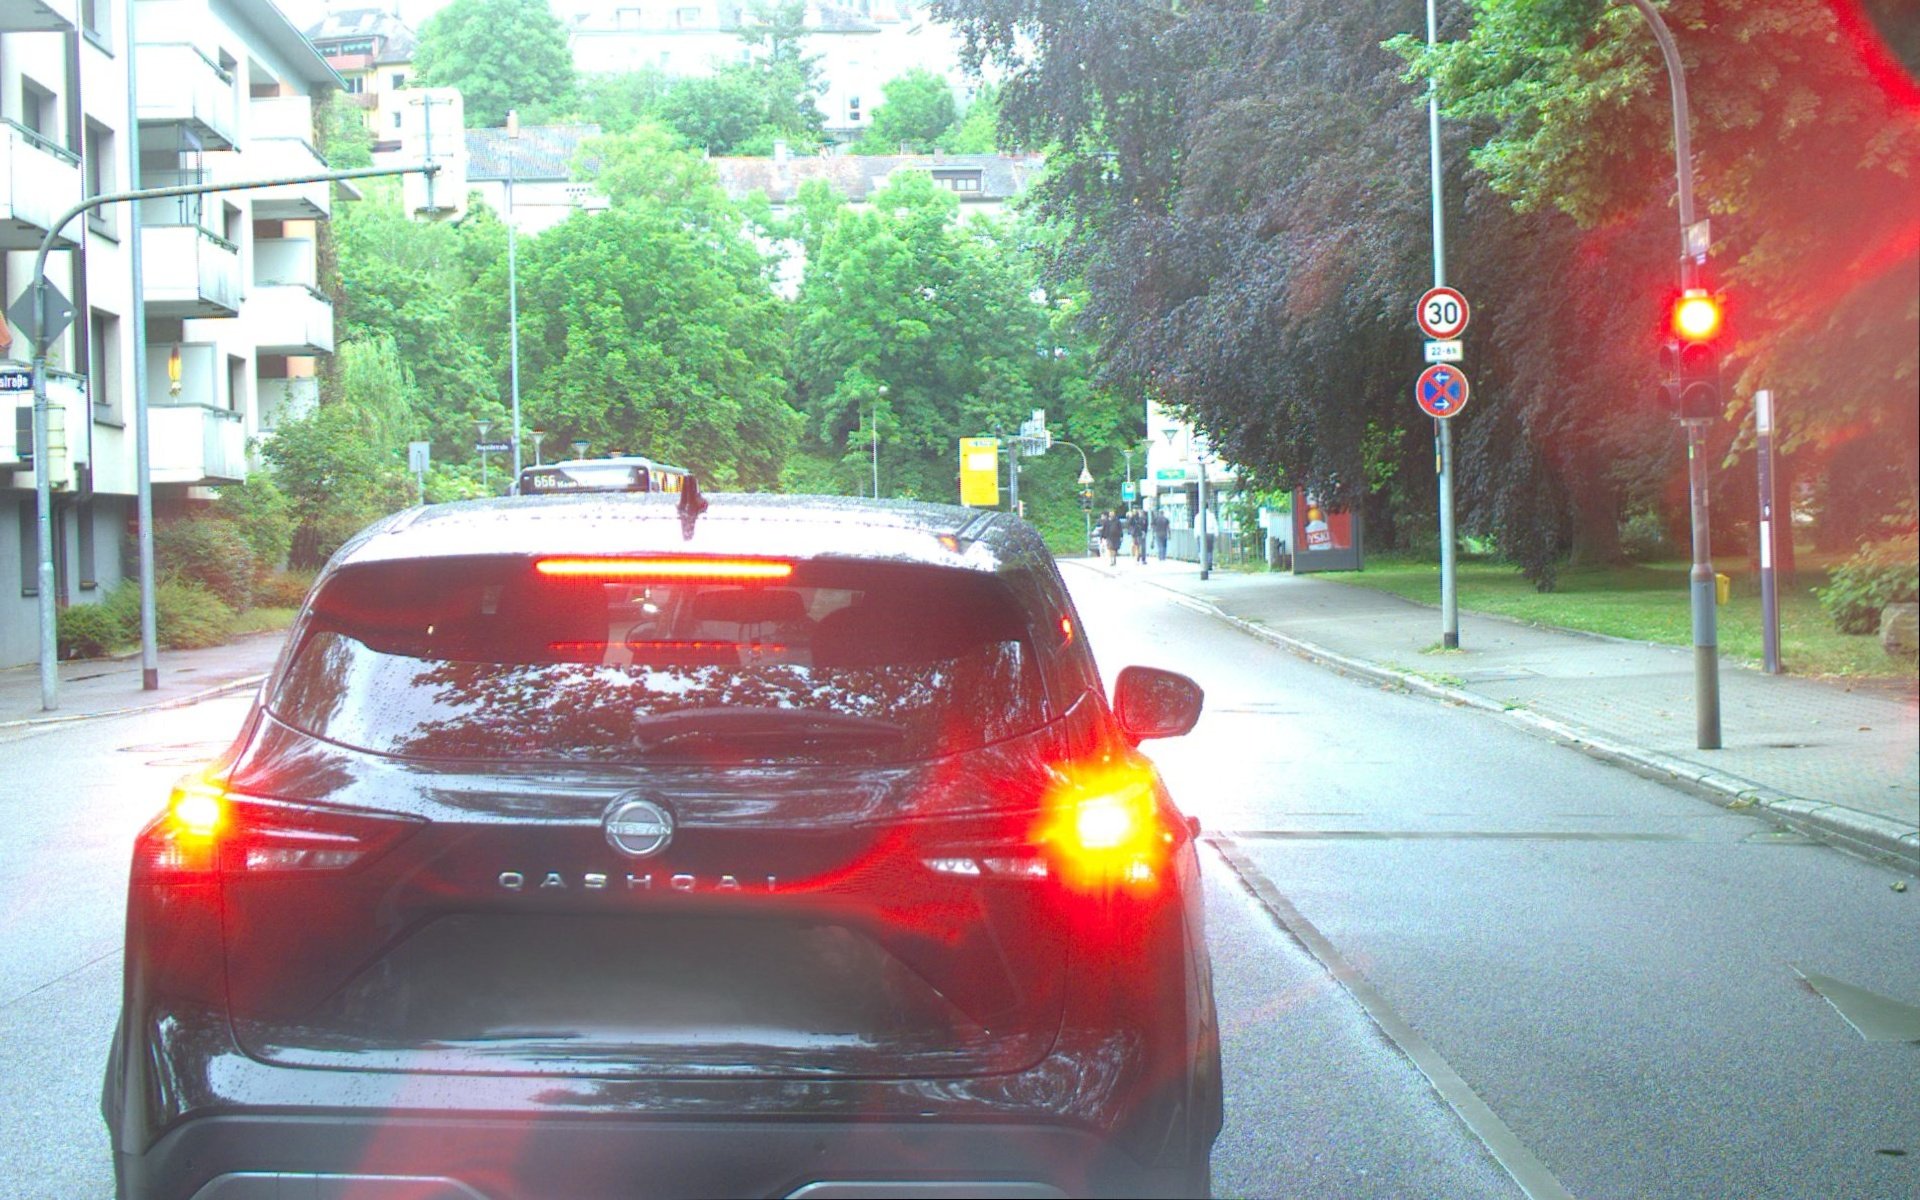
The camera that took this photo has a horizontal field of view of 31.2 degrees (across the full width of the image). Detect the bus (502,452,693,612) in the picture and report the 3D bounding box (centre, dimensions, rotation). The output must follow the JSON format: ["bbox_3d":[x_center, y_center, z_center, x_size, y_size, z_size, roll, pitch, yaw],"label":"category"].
[{"bbox_3d":[-7.336,-1.387,71.134,2.766,2.964,11.782,-2,1,-1],"label":"bus"}]

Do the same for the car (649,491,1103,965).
[{"bbox_3d":[-0.278,0.439,14.663,1.622,1.703,3.771,-2,1,1],"label":"car"}]

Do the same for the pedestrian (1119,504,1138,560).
[{"bbox_3d":[5.023,-2.018,102.529,0.514,1.650,0.550,1,0,-1],"label":"pedestrian"}]

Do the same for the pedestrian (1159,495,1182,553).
[{"bbox_3d":[6.612,-2.380,107.859,0.618,1.773,0.551,-2,1,-1],"label":"pedestrian"}]

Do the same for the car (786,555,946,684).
[{"bbox_3d":[-1.126,0.192,41.093,1.808,1.412,4.031,0,1,-2],"label":"car"}]

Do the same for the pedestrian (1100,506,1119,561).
[{"bbox_3d":[4.510,-2.011,103.782,0.544,1.645,0.490,1,0,0],"label":"pedestrian"}]

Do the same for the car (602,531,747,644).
[{"bbox_3d":[-3.815,-0.193,46.368,1.624,1.410,3.455,-2,1,0],"label":"car"}]

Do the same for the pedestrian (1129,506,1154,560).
[{"bbox_3d":[5.487,-2.028,104.072,0.699,1.645,0.628,1,0,0],"label":"pedestrian"}]

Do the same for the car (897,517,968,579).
[{"bbox_3d":[-0.651,-1.264,83.156,1.624,1.410,3.455,-2,1,0],"label":"car"}]

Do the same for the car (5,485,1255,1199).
[{"bbox_3d":[-0.506,0.617,7.009,1.806,1.584,4.000,1,1,-1],"label":"car"}]

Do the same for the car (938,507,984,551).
[{"bbox_3d":[0.041,-2.822,136.332,1.750,1.628,3.635,-2,1,0],"label":"car"}]

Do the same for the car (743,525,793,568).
[{"bbox_3d":[-7.648,-2.145,137.250,1.750,1.628,3.635,-2,1,0],"label":"car"}]

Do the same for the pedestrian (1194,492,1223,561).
[{"bbox_3d":[6.489,-1.923,89.656,0.618,1.773,0.778,-2,1,-1],"label":"pedestrian"}]

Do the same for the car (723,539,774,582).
[{"bbox_3d":[-7.780,-1.462,126.562,1.676,1.464,4.217,-3,1,-2],"label":"car"}]

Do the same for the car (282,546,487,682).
[{"bbox_3d":[-6.789,0.124,40.936,1.808,1.412,4.031,-3,1,-2],"label":"car"}]

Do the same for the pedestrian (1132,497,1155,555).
[{"bbox_3d":[5.756,-2.319,107.577,0.618,1.773,0.551,-2,1,-1],"label":"pedestrian"}]

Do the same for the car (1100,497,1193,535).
[{"bbox_3d":[8.902,-4.018,164.125,3.986,1.678,2.001,-2,1,-10],"label":"car"}]

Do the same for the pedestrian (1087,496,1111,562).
[{"bbox_3d":[4.635,-2.361,114.637,0.768,2.176,0.711,1,0,3],"label":"pedestrian"}]
